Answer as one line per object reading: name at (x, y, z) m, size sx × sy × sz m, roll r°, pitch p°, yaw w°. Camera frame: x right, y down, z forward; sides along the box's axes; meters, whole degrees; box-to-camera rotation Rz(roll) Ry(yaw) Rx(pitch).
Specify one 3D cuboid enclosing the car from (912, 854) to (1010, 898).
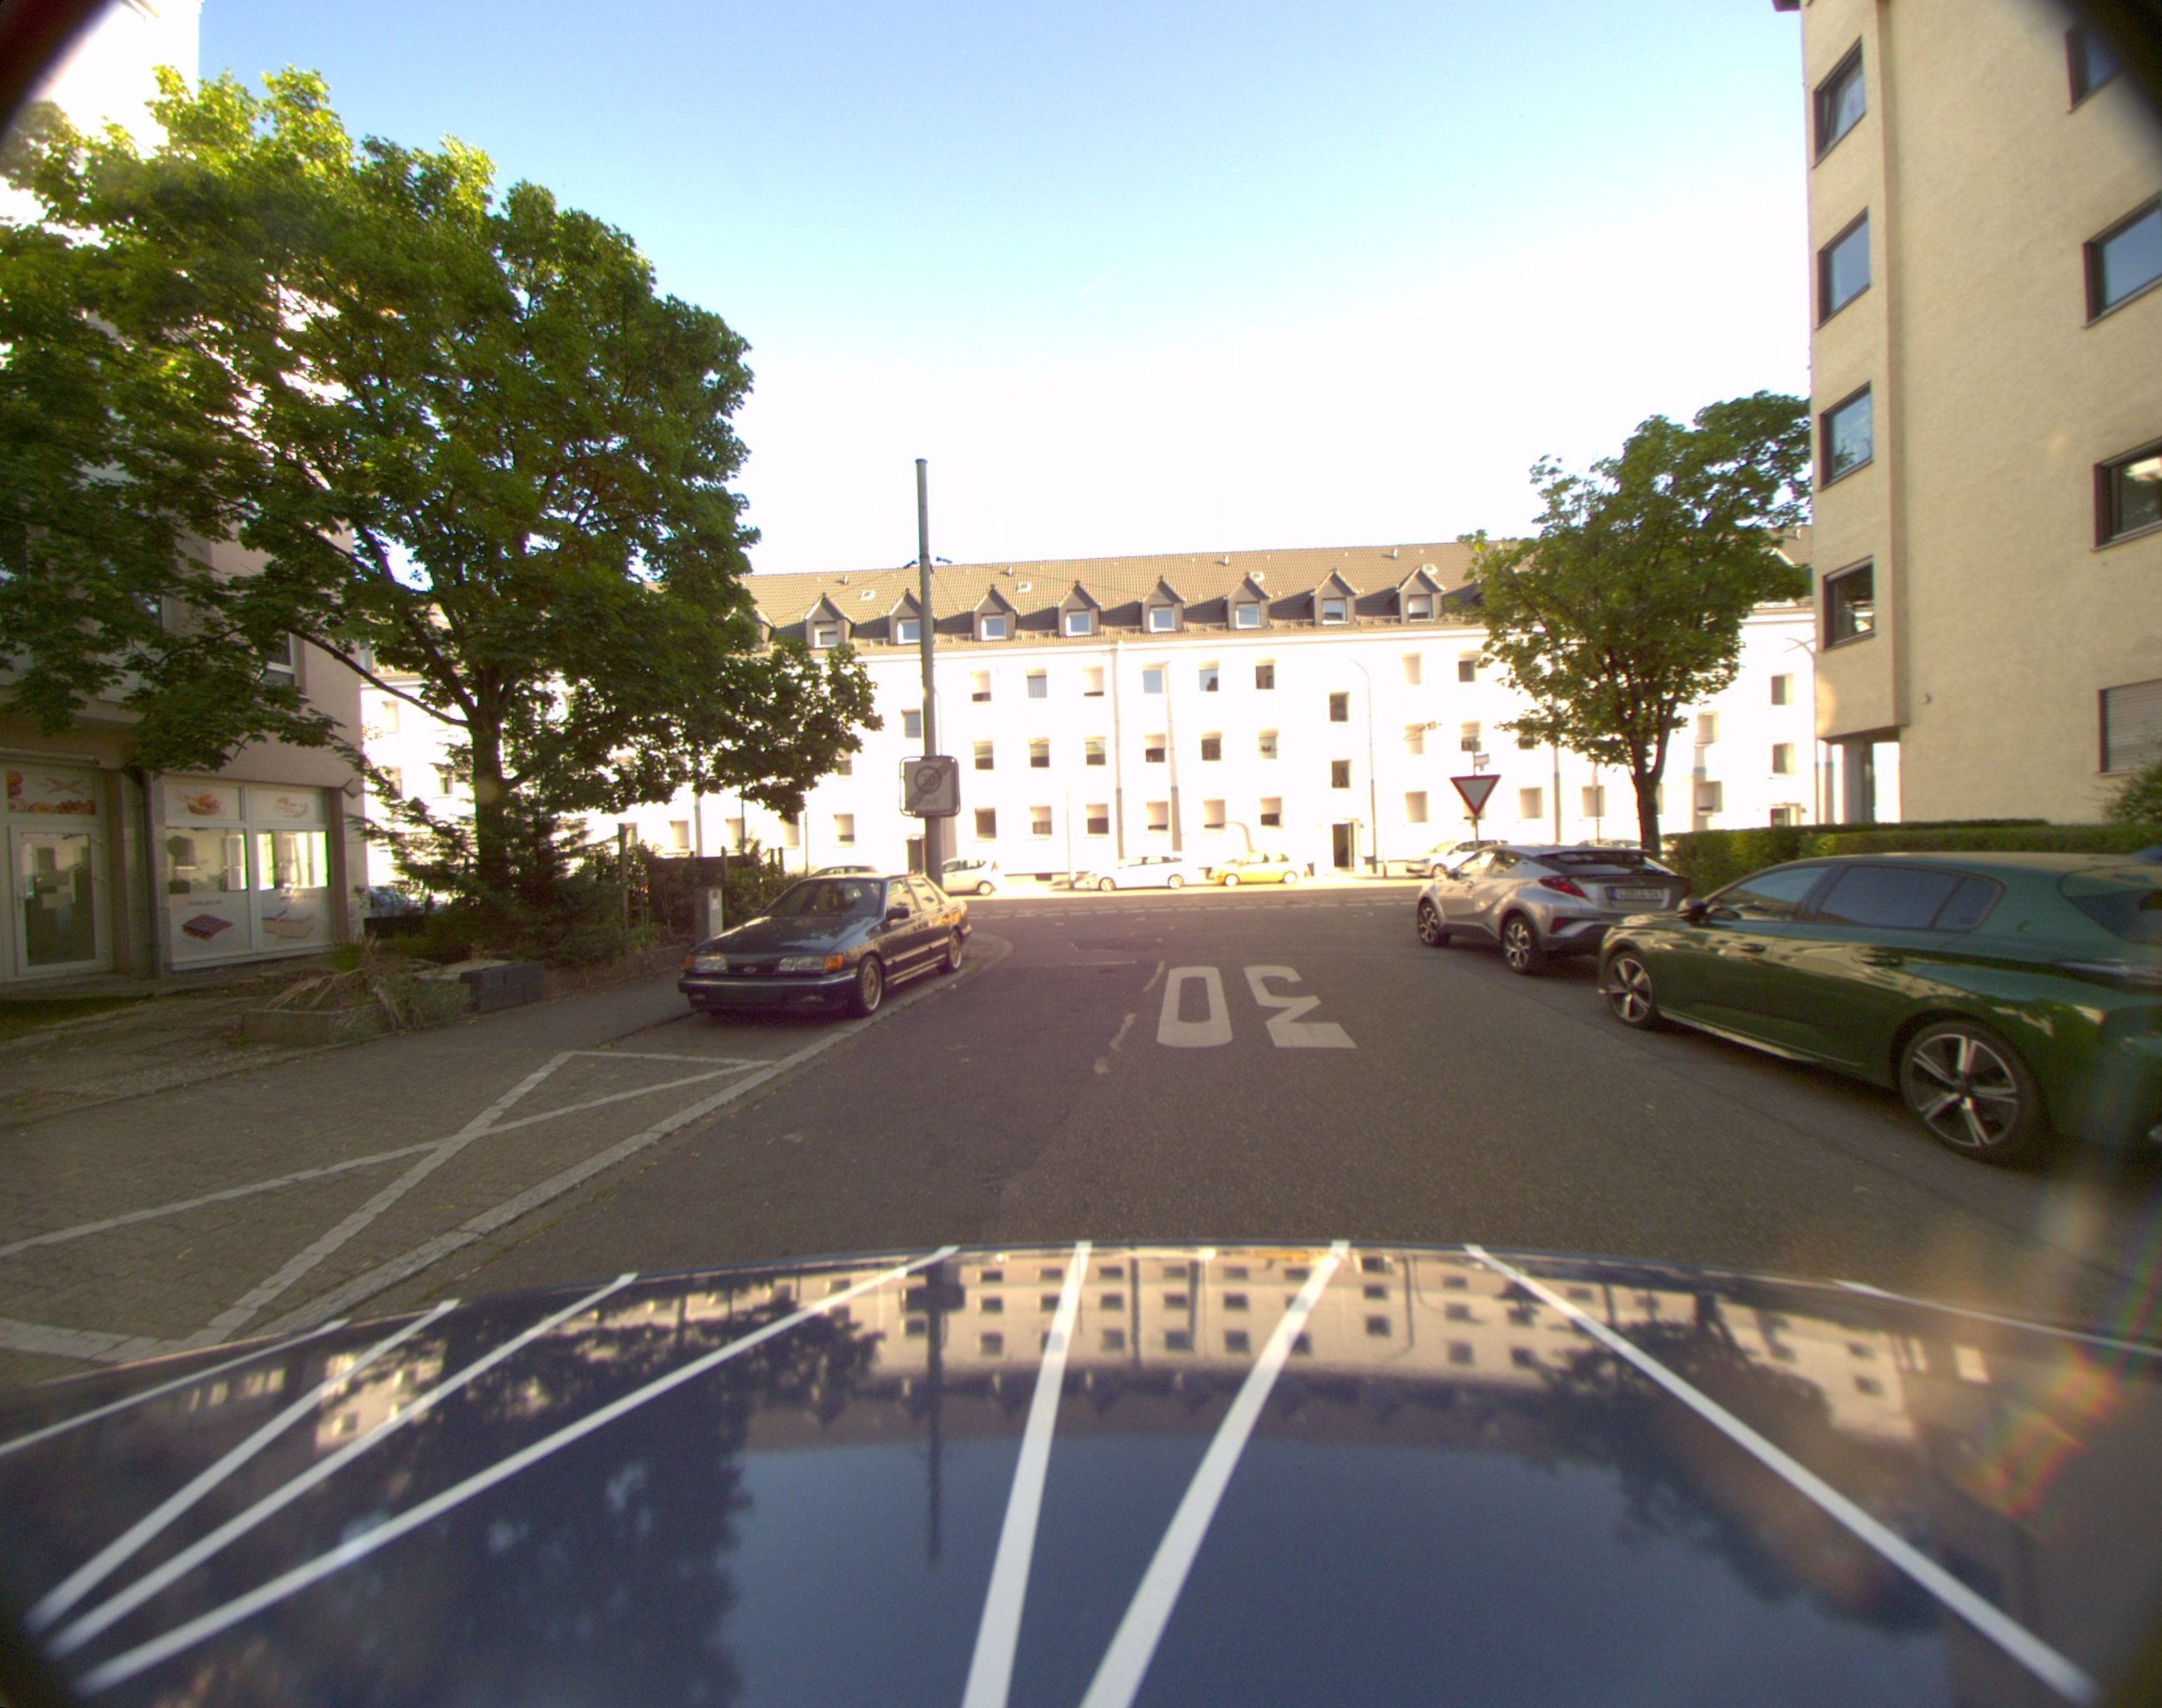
car at (-4.903, 0.880, 31.469) m, size 3.704 × 1.598 × 1.649 m, roll -3°, pitch 1°, yaw 1°

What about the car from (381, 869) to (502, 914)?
car at (-28.828, 1.657, 34.332) m, size 3.996 × 1.771 × 1.695 m, roll -2°, pitch 0°, yaw 2°

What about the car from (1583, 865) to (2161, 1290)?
car at (5.040, 0.850, 4.501) m, size 1.769 × 1.444 × 4.209 m, roll 1°, pitch 1°, yaw 8°

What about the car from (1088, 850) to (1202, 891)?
car at (2.604, 0.660, 31.316) m, size 4.490 × 1.498 × 1.945 m, roll -2°, pitch 1°, yaw 3°

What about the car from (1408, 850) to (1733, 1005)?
car at (5.860, 0.738, 9.793) m, size 1.723 × 1.547 × 4.074 m, roll 0°, pitch 1°, yaw 3°

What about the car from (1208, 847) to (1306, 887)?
car at (7.179, 0.506, 31.226) m, size 3.611 × 1.440 × 1.554 m, roll -2°, pitch 2°, yaw 1°

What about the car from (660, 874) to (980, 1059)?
car at (-2.631, 1.043, 8.945) m, size 1.664 × 1.400 × 4.509 m, roll 1°, pitch 1°, yaw 8°

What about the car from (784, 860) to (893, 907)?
car at (-10.045, 1.221, 31.698) m, size 3.875 × 1.498 × 1.649 m, roll -6°, pitch 1°, yaw 1°

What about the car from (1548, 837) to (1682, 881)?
car at (21.488, 0.189, 30.682) m, size 4.072 × 1.675 × 1.923 m, roll 0°, pitch 1°, yaw -1°

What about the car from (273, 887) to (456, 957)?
car at (-16.465, 1.548, 17.544) m, size 2.879 × 1.348 × 1.262 m, roll -2°, pitch 2°, yaw -2°

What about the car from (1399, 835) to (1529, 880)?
car at (15.580, 0.129, 31.089) m, size 4.282 × 1.548 × 2.000 m, roll -3°, pitch 1°, yaw -1°

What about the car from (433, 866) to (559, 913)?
car at (-24.803, 1.483, 32.304) m, size 3.996 × 1.771 × 1.695 m, roll -2°, pitch 0°, yaw 2°
